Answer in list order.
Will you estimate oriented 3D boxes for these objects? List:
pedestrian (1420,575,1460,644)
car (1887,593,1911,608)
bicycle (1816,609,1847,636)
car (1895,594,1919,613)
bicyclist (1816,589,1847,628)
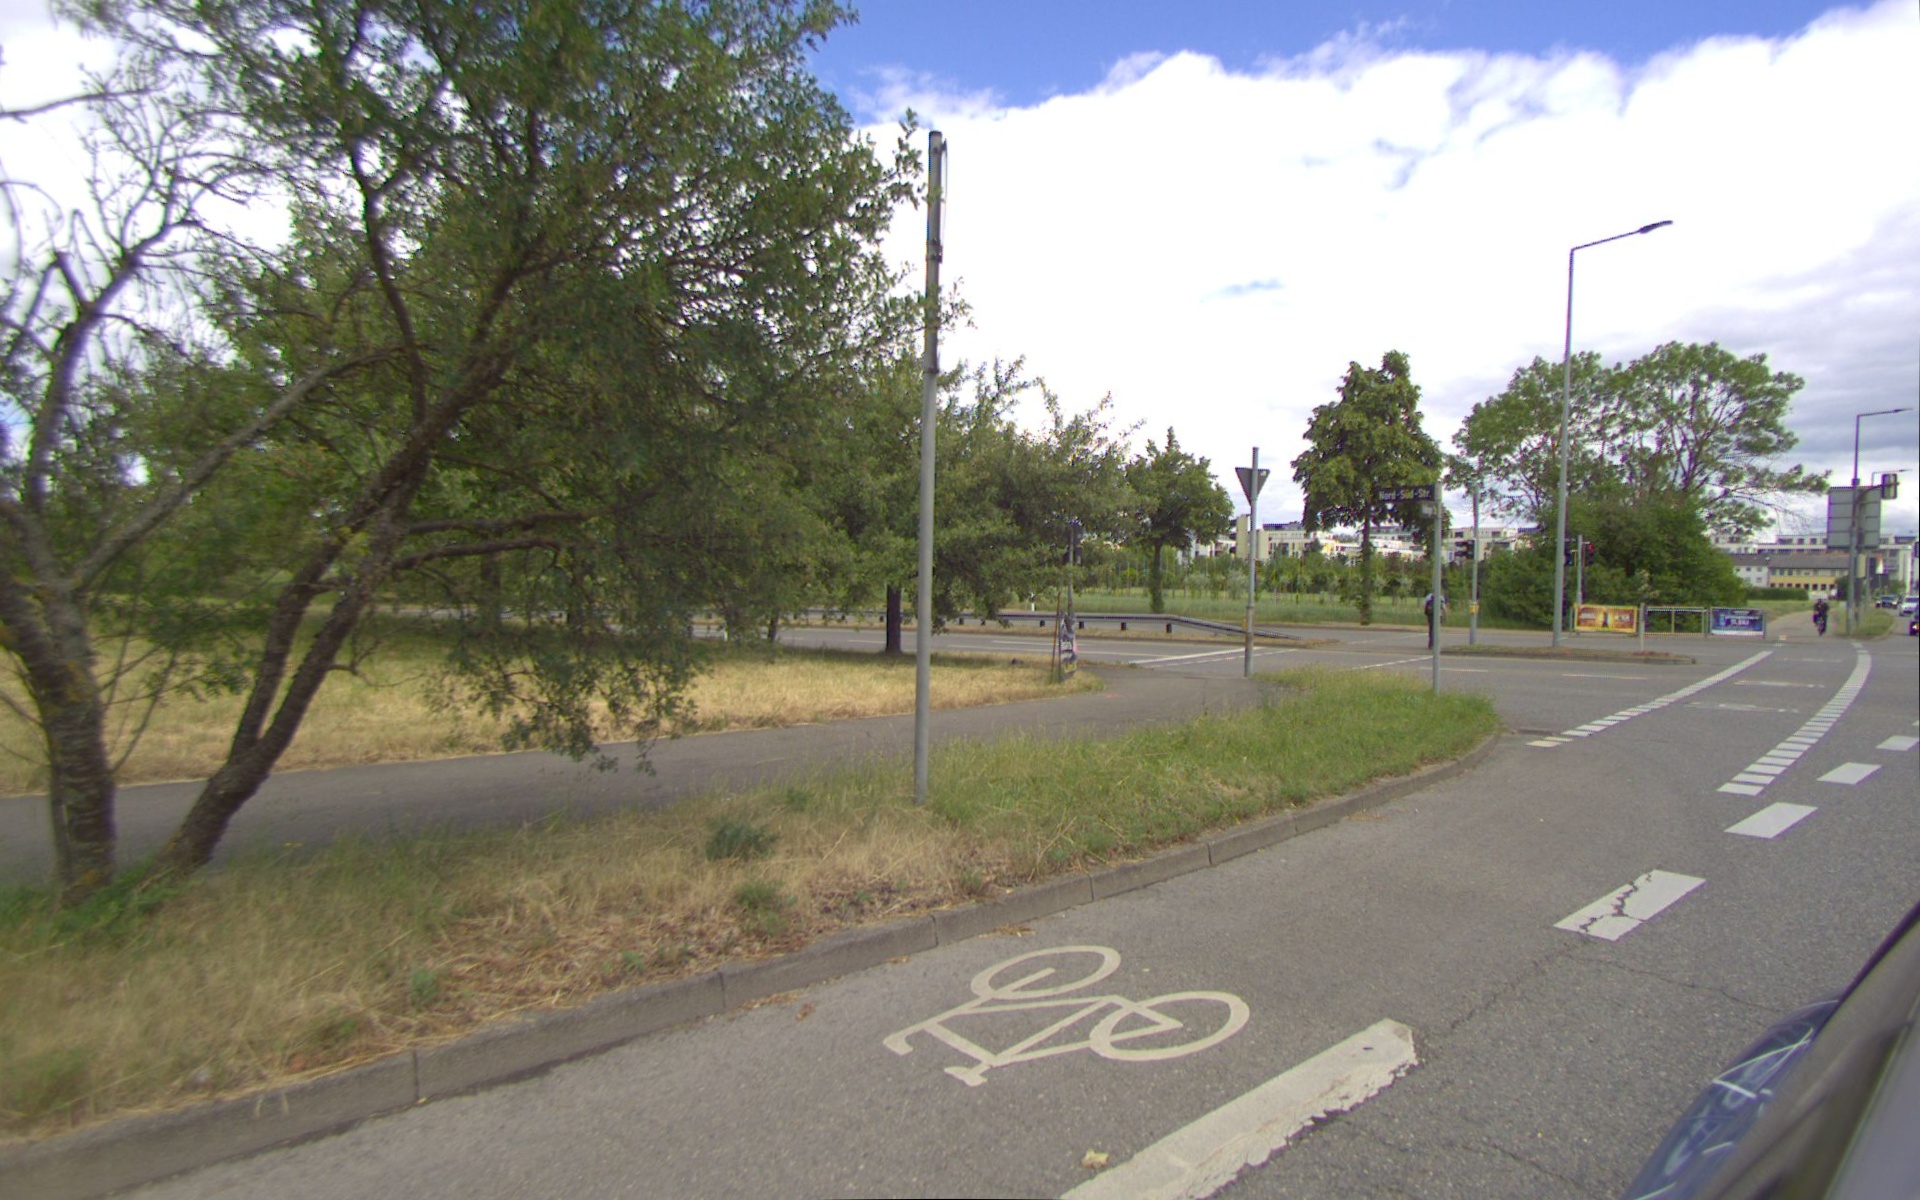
[{"bbox_3d":[13.498,0.264,28.457,0.787,1.907,0.764,0,0,-43],"label":"pedestrian"},{"bbox_3d":[105.232,0.054,113.453,1.866,1.716,4.306,1,0,41],"label":"car"},{"bbox_3d":[40.103,1.013,46.553,1.014,1.148,2.635,3,2,42],"label":"bicycle"},{"bbox_3d":[72.197,0.258,76.787,1.732,1.459,4.298,1,1,45],"label":"car"},{"bbox_3d":[40.298,0.372,46.790,1.014,1.729,1.183,2,2,42],"label":"bicyclist"}]
